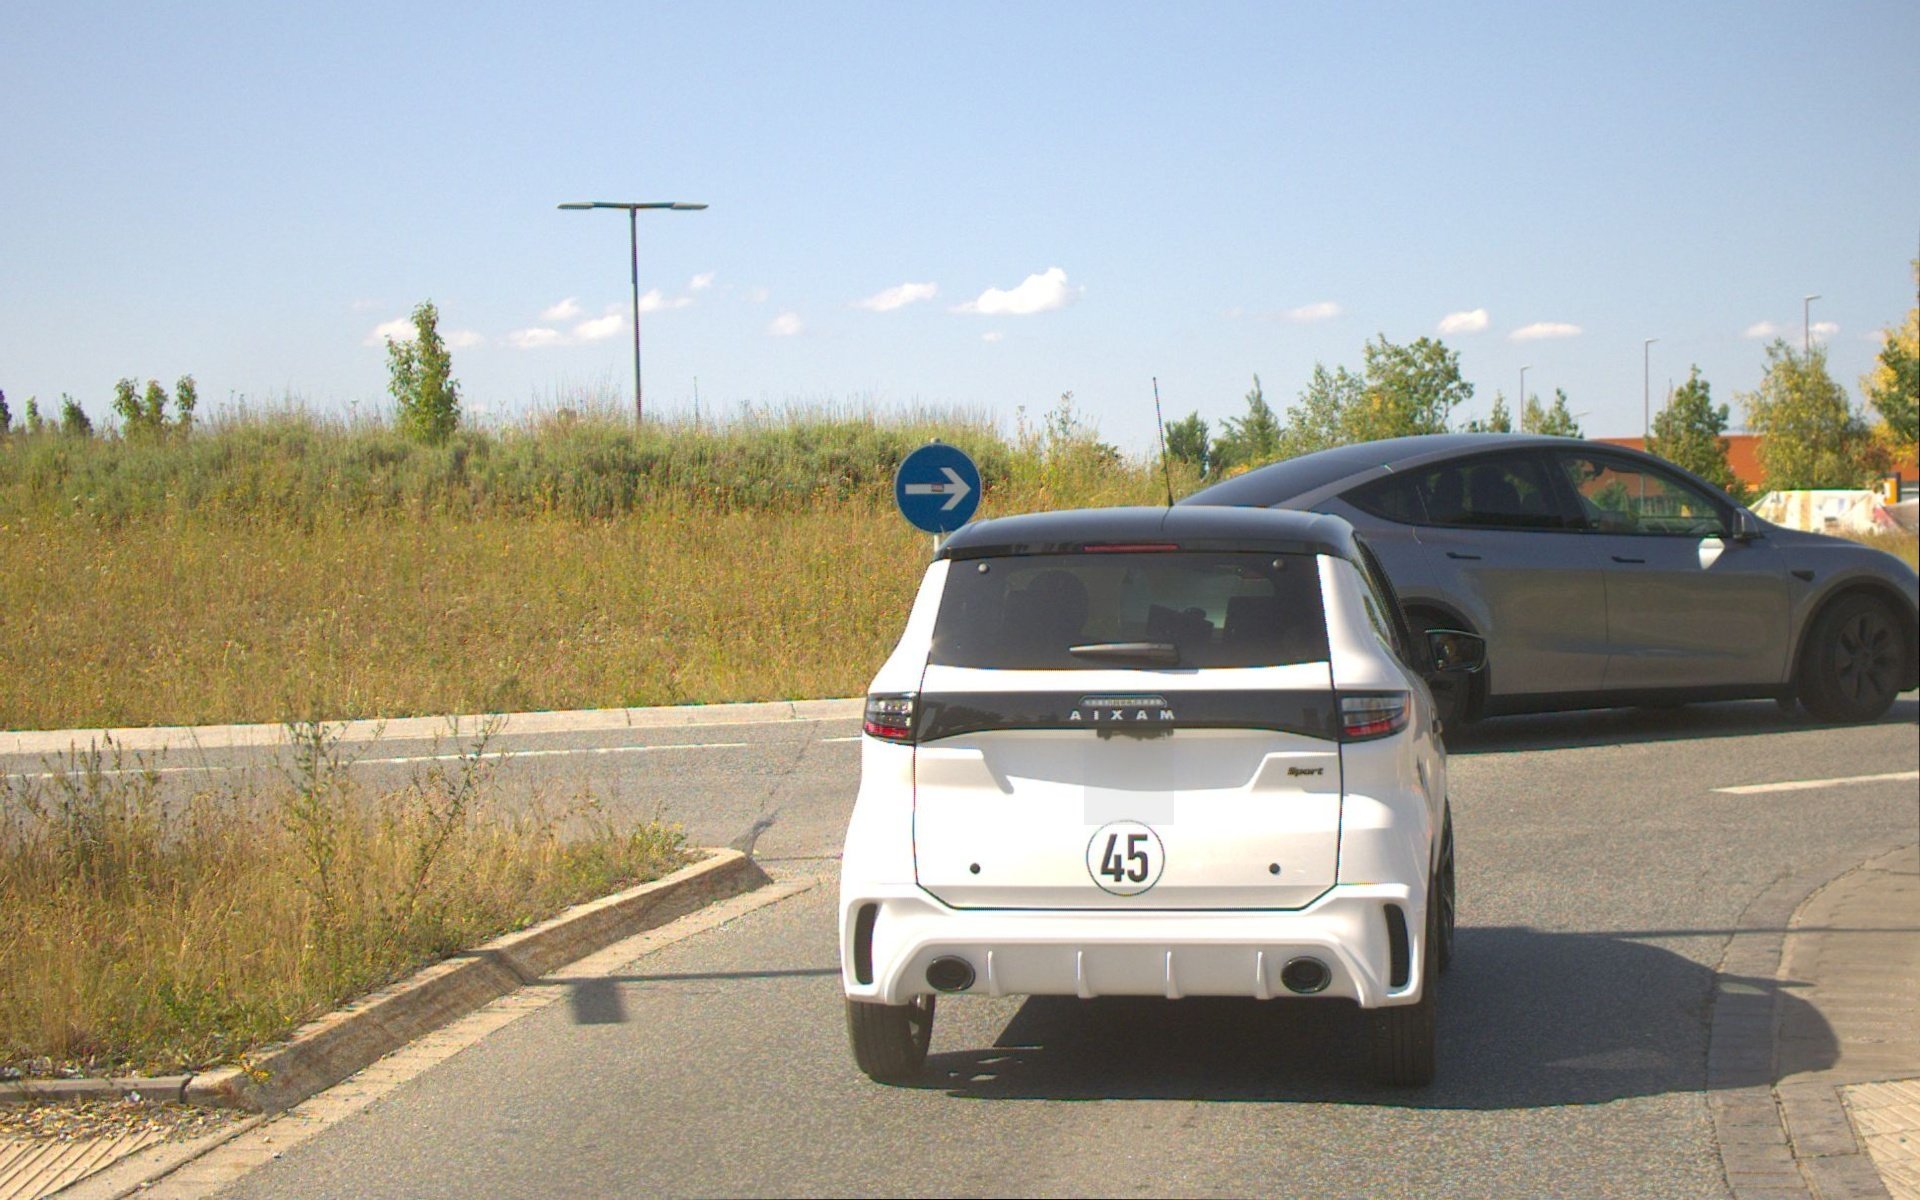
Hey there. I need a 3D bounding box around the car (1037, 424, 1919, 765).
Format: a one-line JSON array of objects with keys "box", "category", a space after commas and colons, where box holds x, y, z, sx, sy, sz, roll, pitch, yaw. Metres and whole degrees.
[{"box": [2.937, -0.097, 18.590, 4.608, 1.620, 1.964, -2, 2, -22], "category": "car"}]

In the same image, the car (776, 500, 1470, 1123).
[{"box": [0.659, 0.458, 10.122, 1.617, 1.429, 3.791, -1, 2, 9], "category": "car"}]
